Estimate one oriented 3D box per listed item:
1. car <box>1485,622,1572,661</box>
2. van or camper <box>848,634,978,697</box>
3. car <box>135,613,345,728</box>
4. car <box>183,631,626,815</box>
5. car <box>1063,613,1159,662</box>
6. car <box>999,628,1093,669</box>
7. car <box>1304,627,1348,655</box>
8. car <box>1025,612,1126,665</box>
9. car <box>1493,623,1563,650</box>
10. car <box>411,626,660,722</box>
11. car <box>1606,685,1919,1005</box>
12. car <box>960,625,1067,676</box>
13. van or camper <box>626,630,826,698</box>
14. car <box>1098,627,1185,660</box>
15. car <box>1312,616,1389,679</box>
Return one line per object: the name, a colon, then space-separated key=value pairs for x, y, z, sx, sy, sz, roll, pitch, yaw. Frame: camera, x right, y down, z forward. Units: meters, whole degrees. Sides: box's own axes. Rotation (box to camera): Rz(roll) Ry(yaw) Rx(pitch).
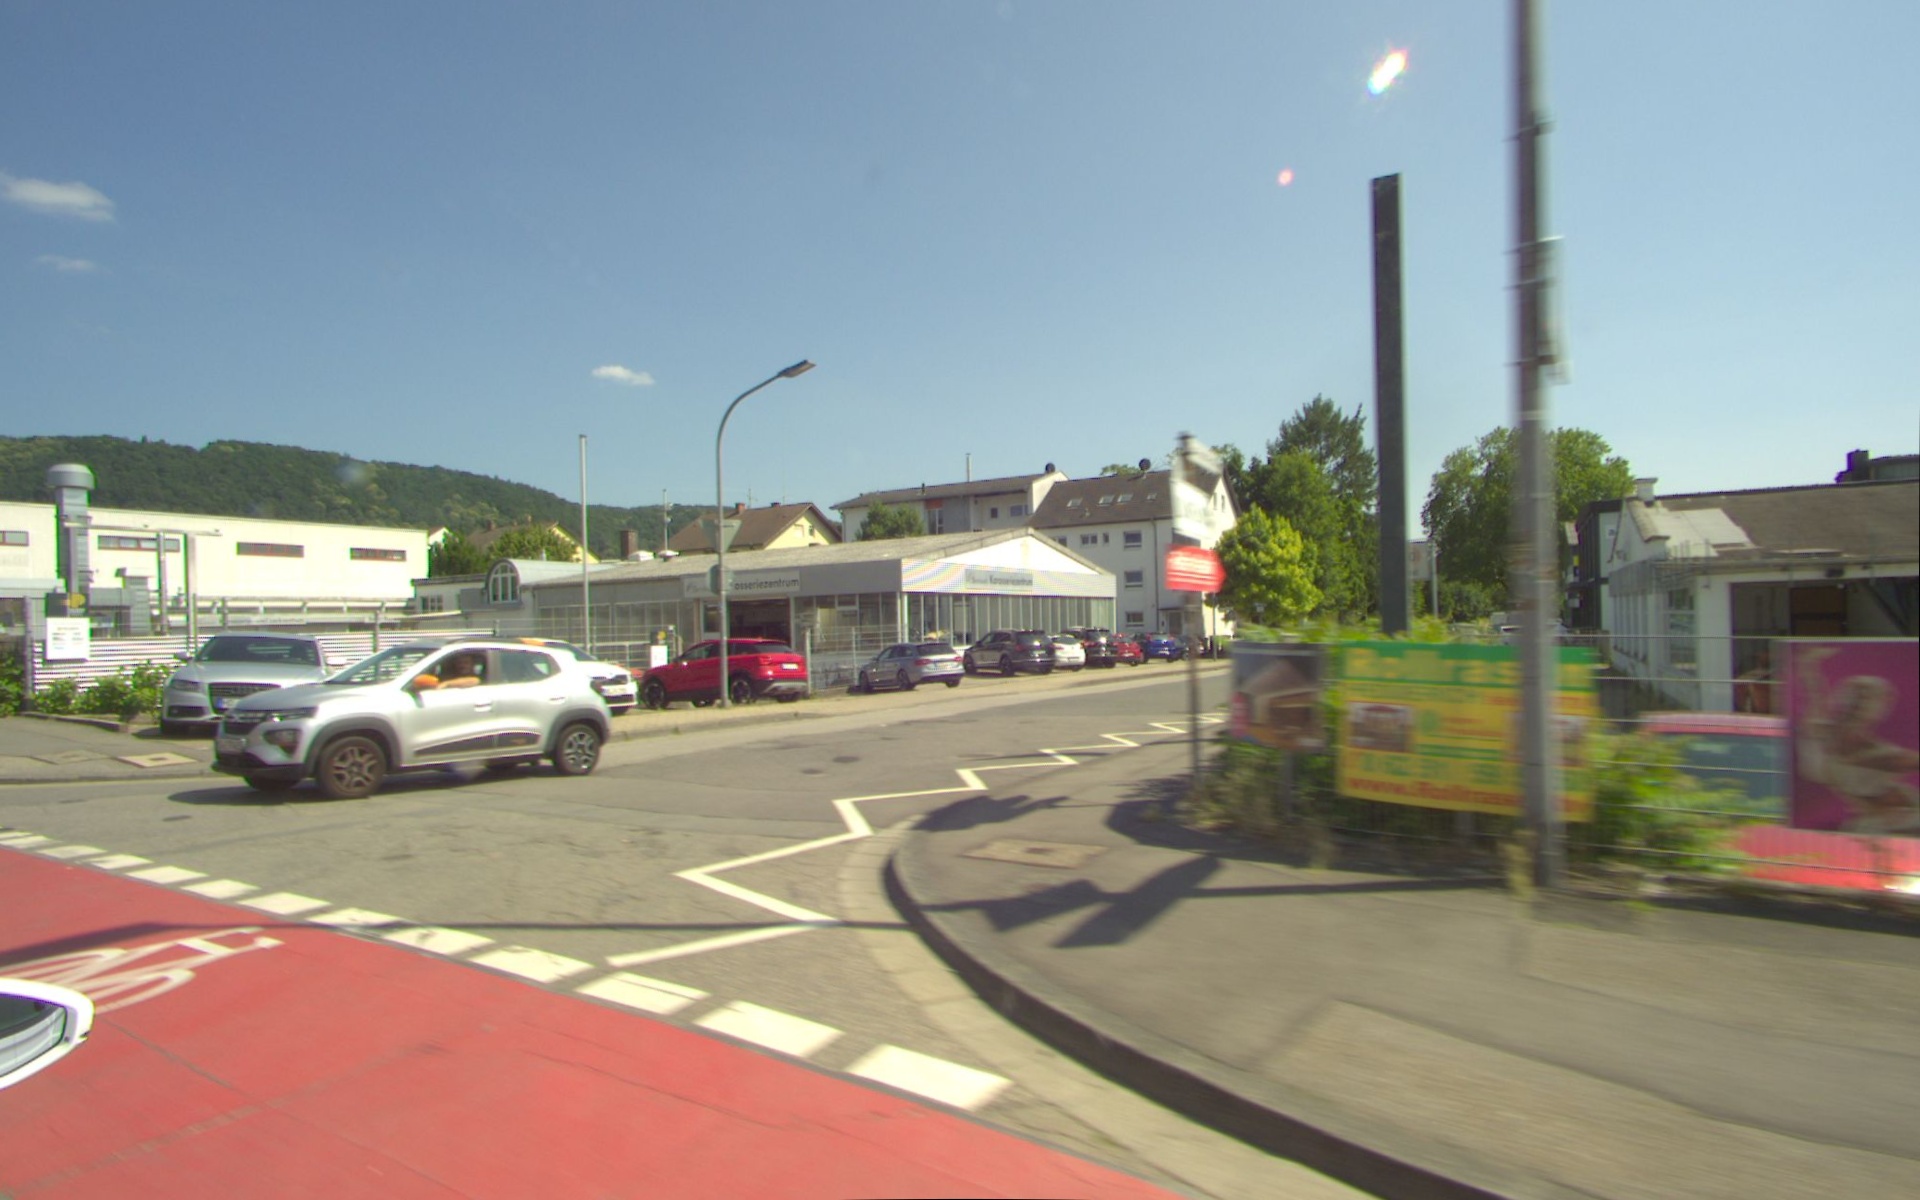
car: x=30.344 y=2.179 z=53.470 sx=3.945 sy=1.929 sz=1.753 roll=0 pitch=0 yaw=34
van or camper: x=-1.495 y=1.926 z=30.137 sx=1.972 sy=1.563 sz=4.205 roll=-5 pitch=1 yaw=-33
car: x=-10.123 y=1.039 z=14.443 sx=1.931 sy=1.374 sz=4.477 roll=4 pitch=-5 yaw=-30
car: x=-5.485 y=1.088 z=10.334 sx=1.702 sy=1.503 sz=3.660 roll=0 pitch=-1 yaw=31
car: x=6.631 y=1.702 z=44.248 sx=1.976 sy=2.038 sz=3.973 roll=2 pitch=-4 yaw=-36
car: x=3.285 y=1.898 z=38.876 sx=1.769 sy=1.482 sz=3.806 roll=2 pitch=-3 yaw=-31
car: x=22.286 y=2.472 z=60.884 sx=1.969 sy=1.572 sz=3.984 roll=0 pitch=0 yaw=28
car: x=4.686 y=1.625 z=41.061 sx=1.976 sy=2.038 sz=3.973 roll=2 pitch=-4 yaw=-36
car: x=37.111 y=2.334 z=65.448 sx=3.942 sy=1.671 sz=1.754 roll=0 pitch=0 yaw=32
car: x=-7.680 y=1.240 z=18.028 sx=4.438 sy=1.524 sz=1.845 roll=-1 pitch=-1 yaw=30
car: x=5.498 y=1.383 z=6.895 sx=1.585 sy=1.363 sz=3.976 roll=-1 pitch=-2 yaw=36
car: x=1.865 y=1.788 z=35.987 sx=1.972 sy=1.668 sz=3.978 roll=2 pitch=-1 yaw=-30
van or camper: x=-5.368 y=1.455 z=22.966 sx=4.164 sy=1.366 sz=1.995 roll=-1 pitch=-6 yaw=29
car: x=8.553 y=2.089 z=47.530 sx=1.729 sy=1.504 sz=3.973 roll=2 pitch=-4 yaw=-36
car: x=12.507 y=1.454 z=31.934 sx=1.968 sy=1.817 sz=3.986 roll=0 pitch=0 yaw=26
